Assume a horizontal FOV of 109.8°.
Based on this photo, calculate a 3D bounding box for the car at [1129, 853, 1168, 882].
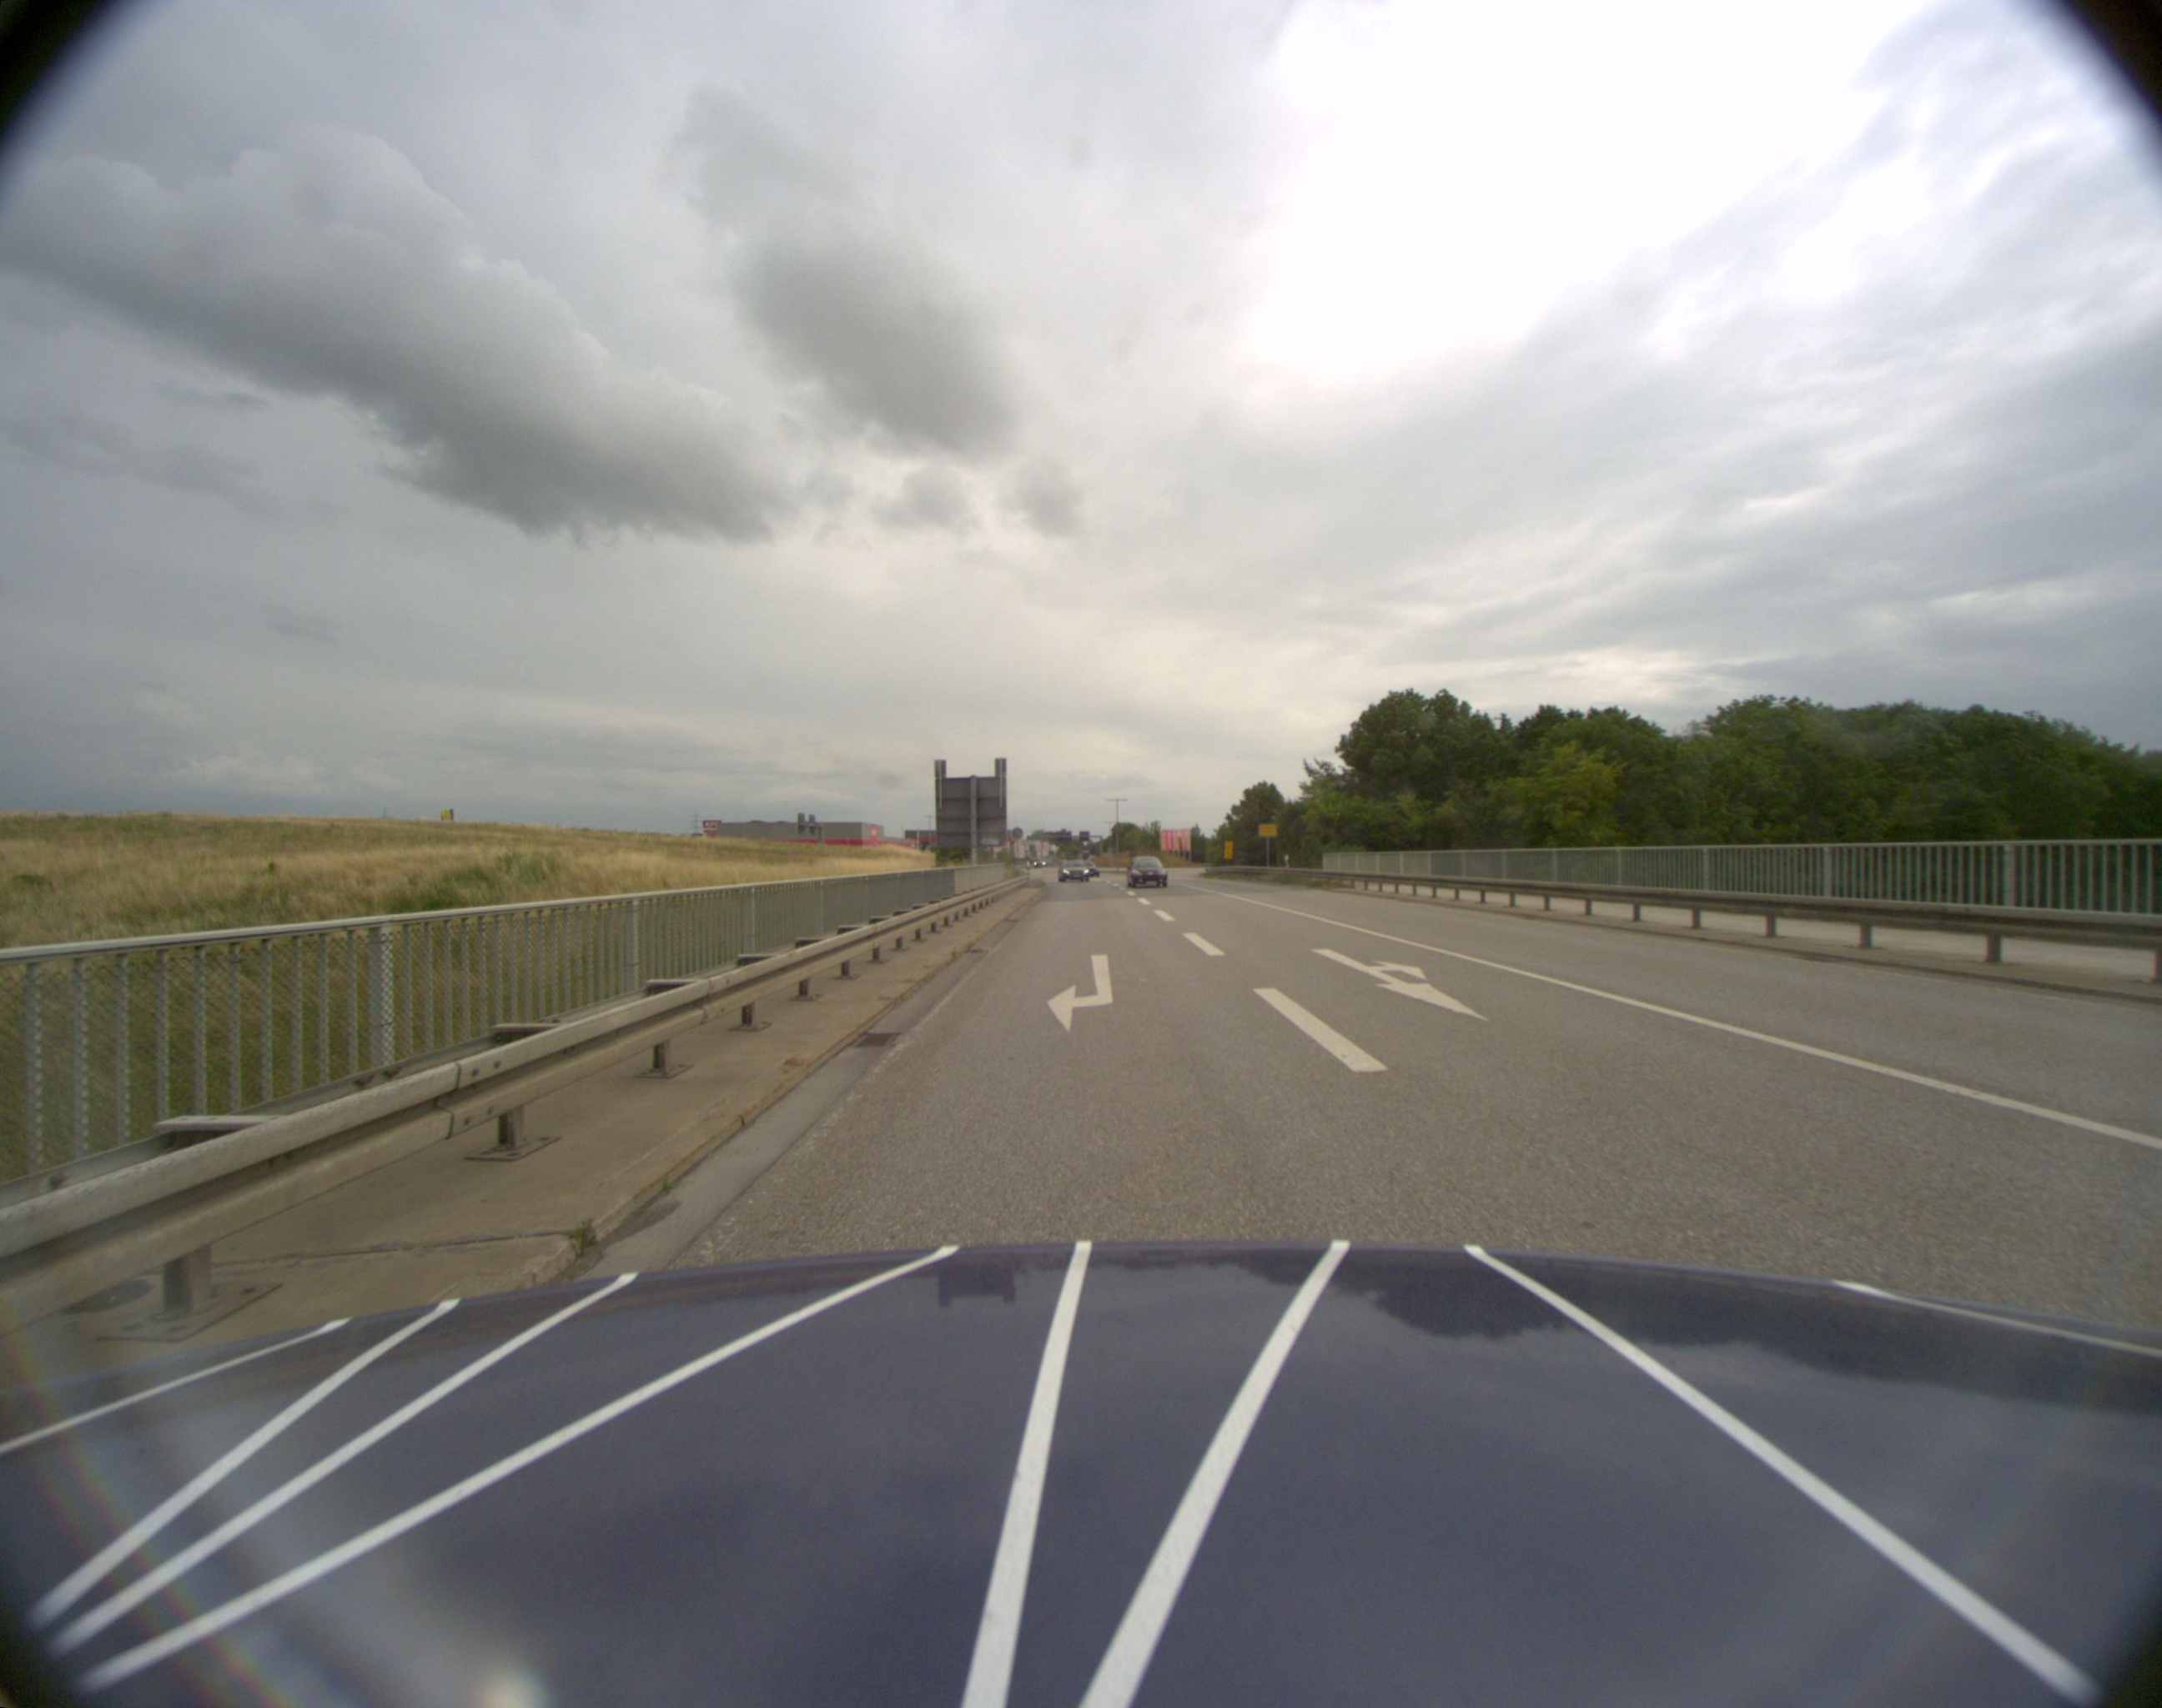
[{"bbox_3d":[3.256,0.650,37.354,1.580,1.346,3.824,-2,-1,1],"label":"car"}]

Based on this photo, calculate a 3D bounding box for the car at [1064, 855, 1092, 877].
[{"bbox_3d":[-0.199,0.860,51.893,1.764,1.411,4.092,-2,-2,0],"label":"car"}]

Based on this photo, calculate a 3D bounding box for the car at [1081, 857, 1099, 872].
[{"bbox_3d":[0.790,0.915,69.393,1.579,1.261,3.314,-2,1,0],"label":"car"}]
